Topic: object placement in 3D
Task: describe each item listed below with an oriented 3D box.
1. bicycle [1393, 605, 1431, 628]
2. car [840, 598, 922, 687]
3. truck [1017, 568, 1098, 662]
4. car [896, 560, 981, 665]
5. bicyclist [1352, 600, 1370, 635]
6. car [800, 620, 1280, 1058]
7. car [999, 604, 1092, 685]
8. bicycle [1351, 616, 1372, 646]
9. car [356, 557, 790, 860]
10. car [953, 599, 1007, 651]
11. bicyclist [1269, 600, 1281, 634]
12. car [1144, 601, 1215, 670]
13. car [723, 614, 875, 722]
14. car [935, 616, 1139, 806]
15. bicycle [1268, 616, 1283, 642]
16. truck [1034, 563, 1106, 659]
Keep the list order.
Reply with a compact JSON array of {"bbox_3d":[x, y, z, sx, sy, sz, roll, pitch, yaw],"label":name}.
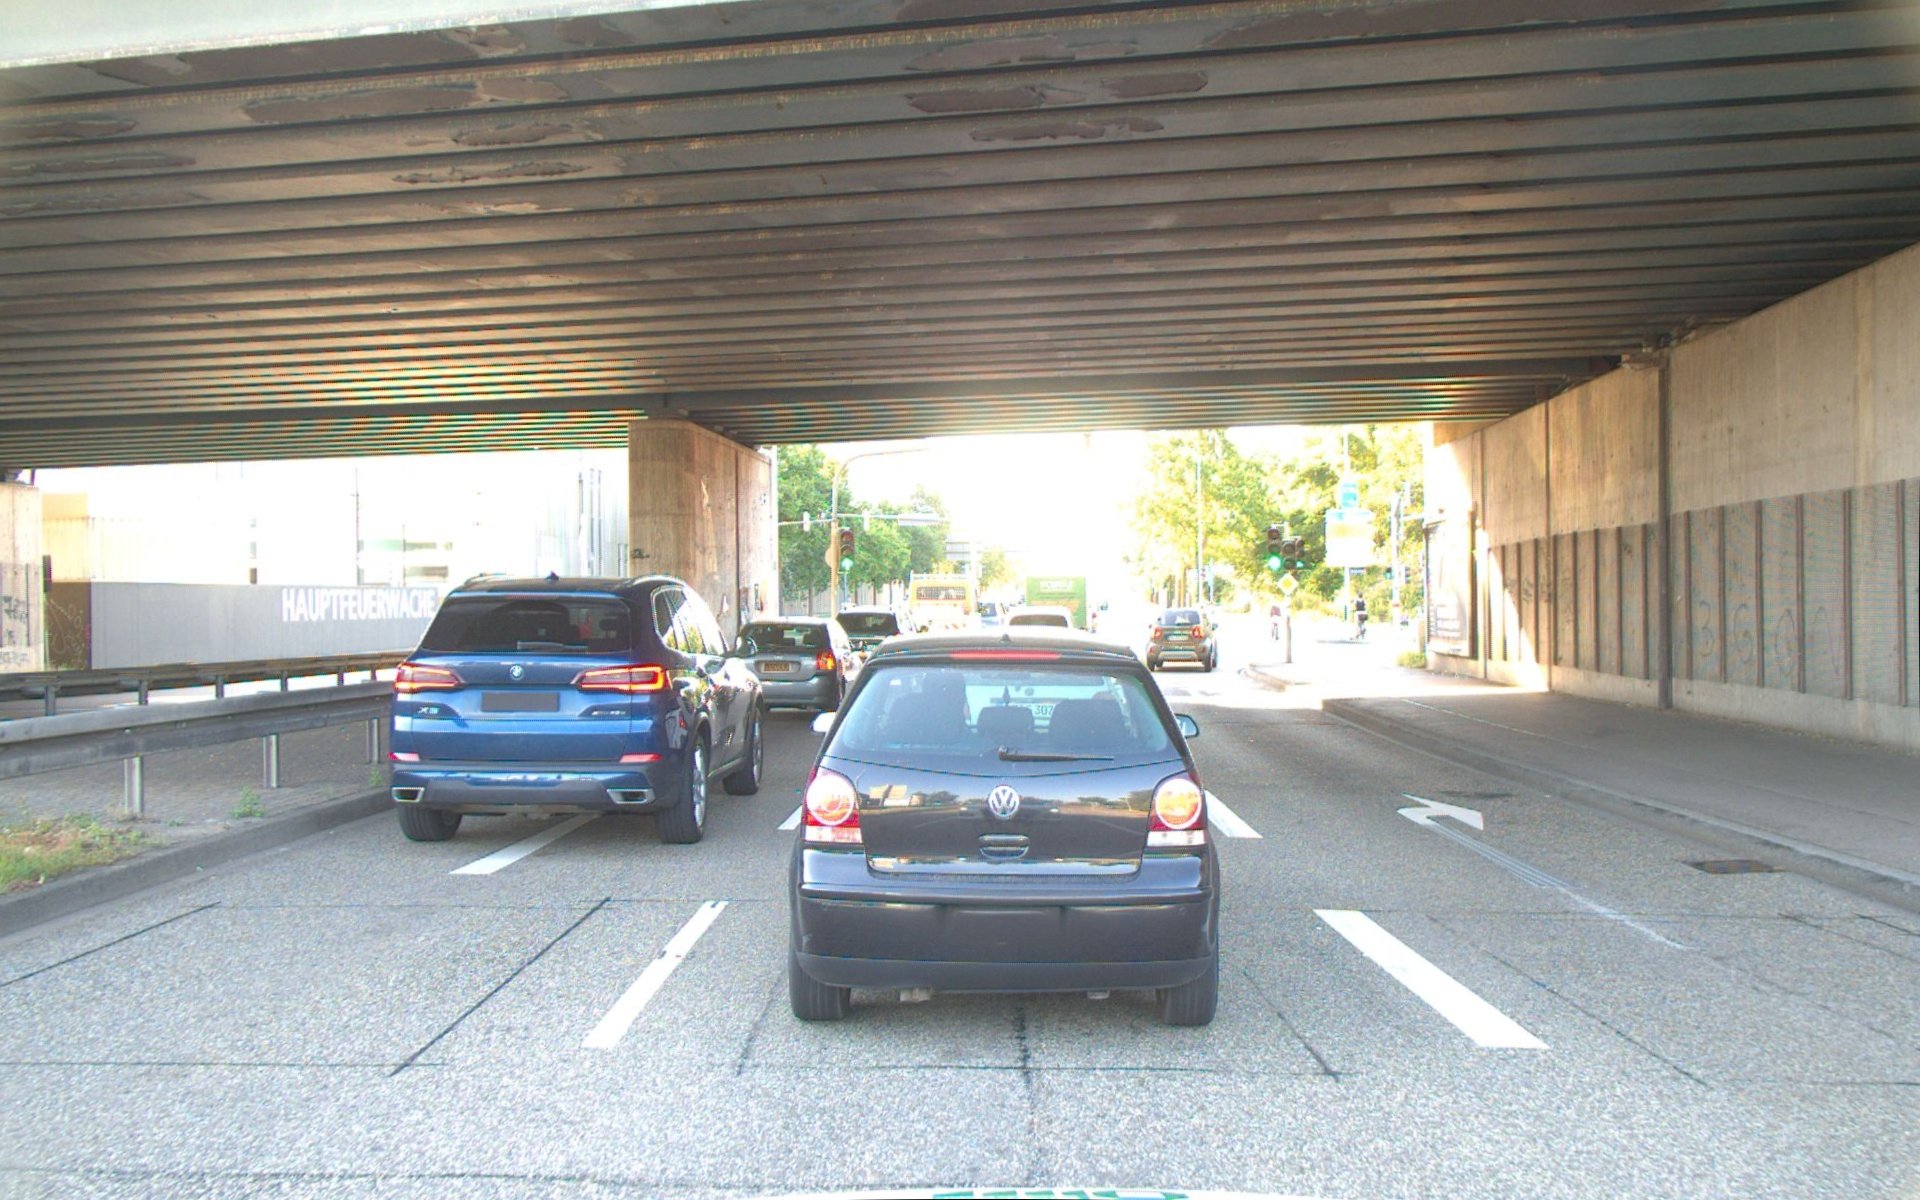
[{"bbox_3d":[21.075,0.767,77.043,1.628,1.008,0.578,-1,2,22],"label":"bicycle"},{"bbox_3d":[-1.588,0.859,34.170,1.584,1.709,3.682,1,-1,-1],"label":"car"},{"bbox_3d":[2.637,0.408,43.986,1.954,2.356,4.002,1,-1,6],"label":"truck"},{"bbox_3d":[-0.512,0.357,44.397,2.092,2.621,5.087,1,-1,1],"label":"car"},{"bbox_3d":[15.461,0.671,63.787,0.532,1.339,0.836,1,-1,6],"label":"bicyclist"},{"bbox_3d":[0.171,0.819,7.323,1.584,1.434,3.680,1,-1,-3],"label":"car"},{"bbox_3d":[1.851,0.913,34.877,1.758,1.586,4.002,1,-1,6],"label":"car"},{"bbox_3d":[15.458,1.181,63.747,0.552,1.132,1.622,1,-1,6],"label":"bicycle"},{"bbox_3d":[-2.527,0.668,12.071,1.952,1.764,4.533,1,-1,2],"label":"car"},{"bbox_3d":[0.727,0.860,57.233,1.582,1.709,3.685,1,-1,5],"label":"car"},{"bbox_3d":[11.833,0.632,62.137,0.418,1.254,0.460,-1,-1,6],"label":"bicyclist"},{"bbox_3d":[5.740,0.907,42.896,1.700,1.659,4.065,1,-1,9],"label":"car"},{"bbox_3d":[-2.280,0.946,24.266,1.582,1.434,3.685,1,-1,4],"label":"car"},{"bbox_3d":[0.608,0.876,14.743,1.546,1.438,4.062,1,-1,0],"label":"car"},{"bbox_3d":[11.843,1.092,62.123,0.428,0.930,1.027,-2,-1,6],"label":"bicycle"},{"bbox_3d":[3.289,0.338,48.944,1.954,2.715,4.002,1,-1,6],"label":"truck"}]
